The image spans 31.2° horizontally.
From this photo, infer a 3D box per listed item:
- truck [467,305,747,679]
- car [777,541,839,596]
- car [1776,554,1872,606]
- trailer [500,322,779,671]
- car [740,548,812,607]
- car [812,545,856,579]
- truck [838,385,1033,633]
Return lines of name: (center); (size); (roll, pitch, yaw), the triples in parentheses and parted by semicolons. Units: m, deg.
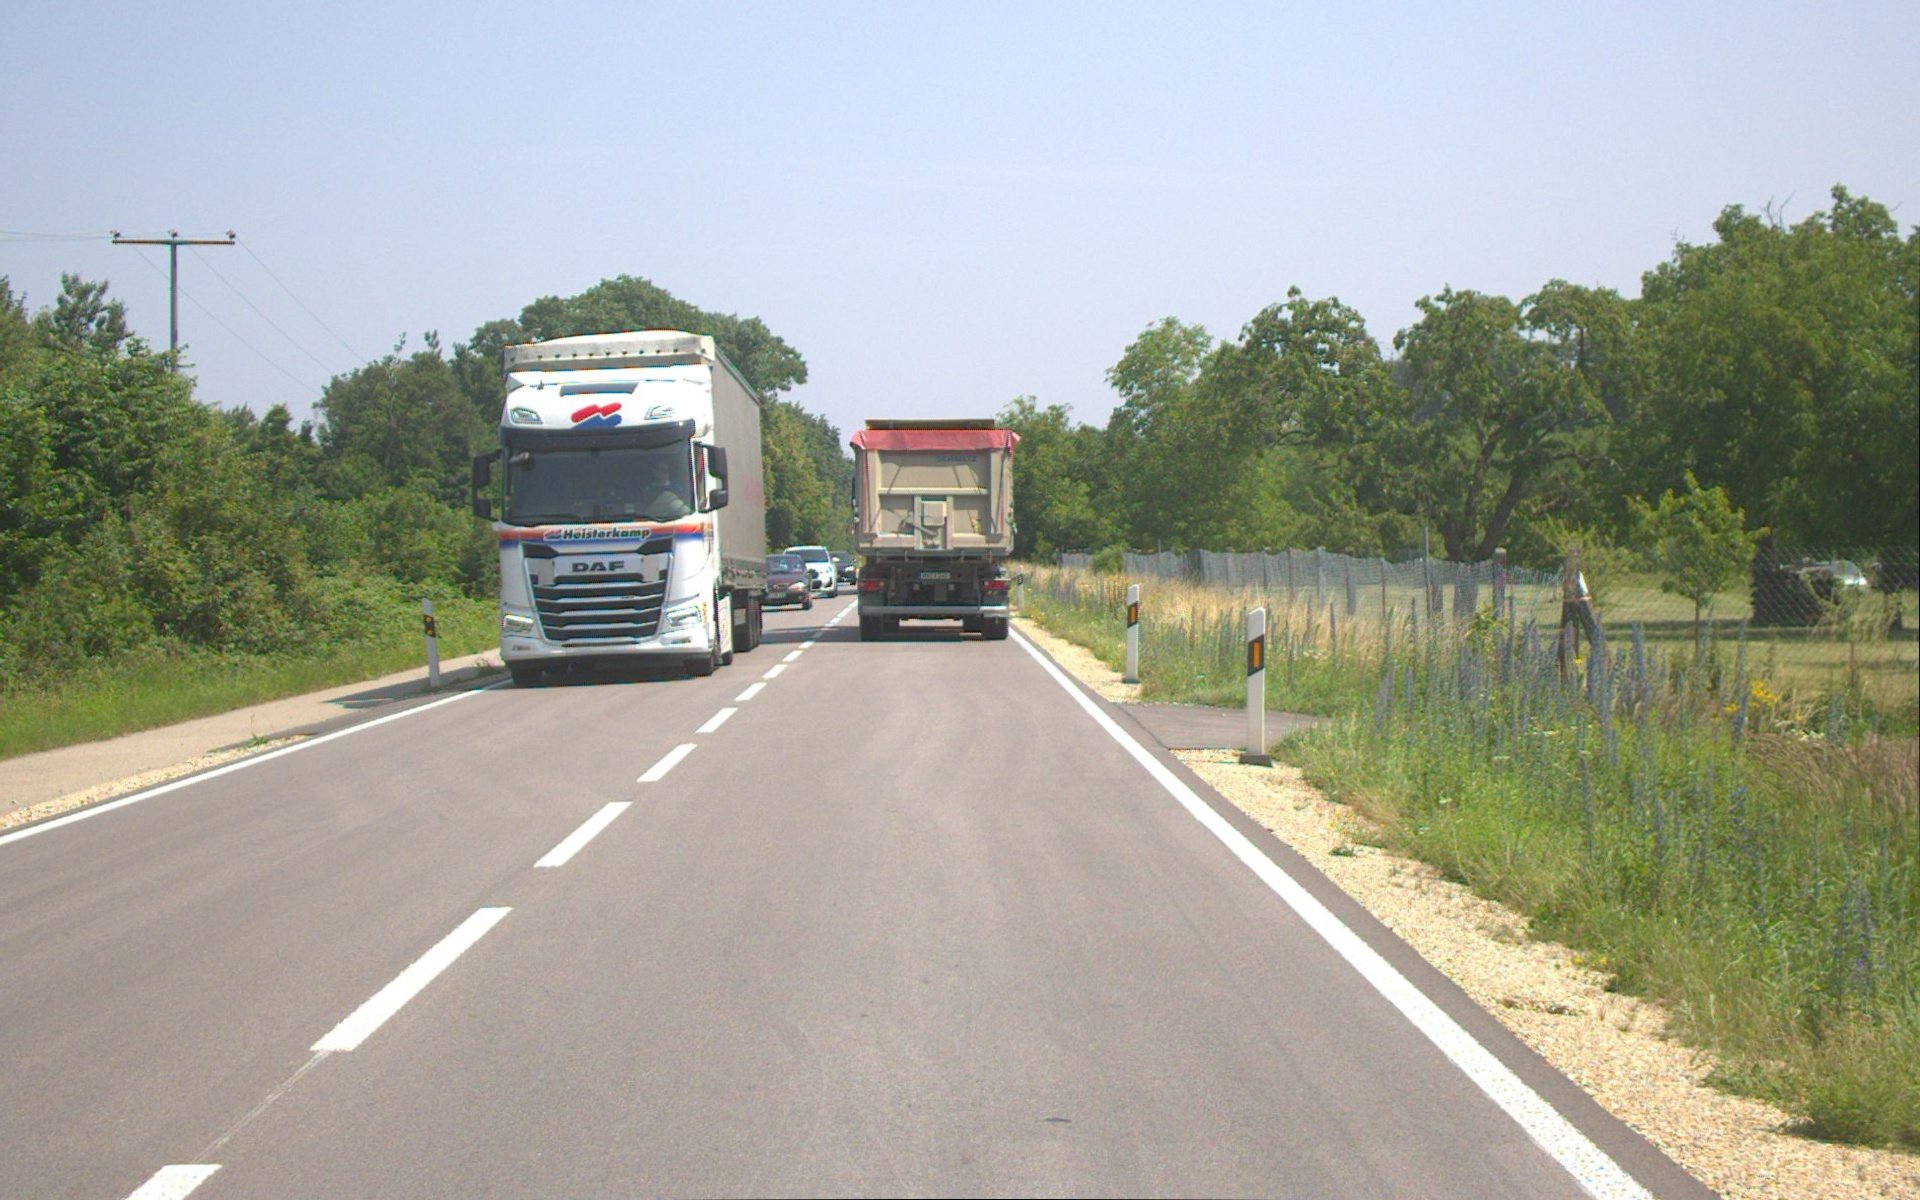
truck: (-4.336, -1.322, 43.733); (2.717, 4.251, 7.390); (-2, 1, 0)
car: (-4.712, -1.005, 107.091); (1.758, 1.601, 4.481); (-3, 1, -1)
car: (25.985, -0.624, 103.496); (1.592, 1.481, 3.429); (-1, 2, -8)
trailer: (-4.364, -1.418, 49.795); (2.717, 4.251, 13.811); (-2, 1, -1)
car: (-4.658, -0.596, 87.578); (1.694, 1.401, 4.046); (-3, 1, -2)
car: (-5.382, -1.647, 147.482); (1.758, 1.353, 4.046); (-3, 1, -1)
truck: (-0.465, -1.516, 60.680); (3.009, 3.861, 12.210); (1, 1, -1)
